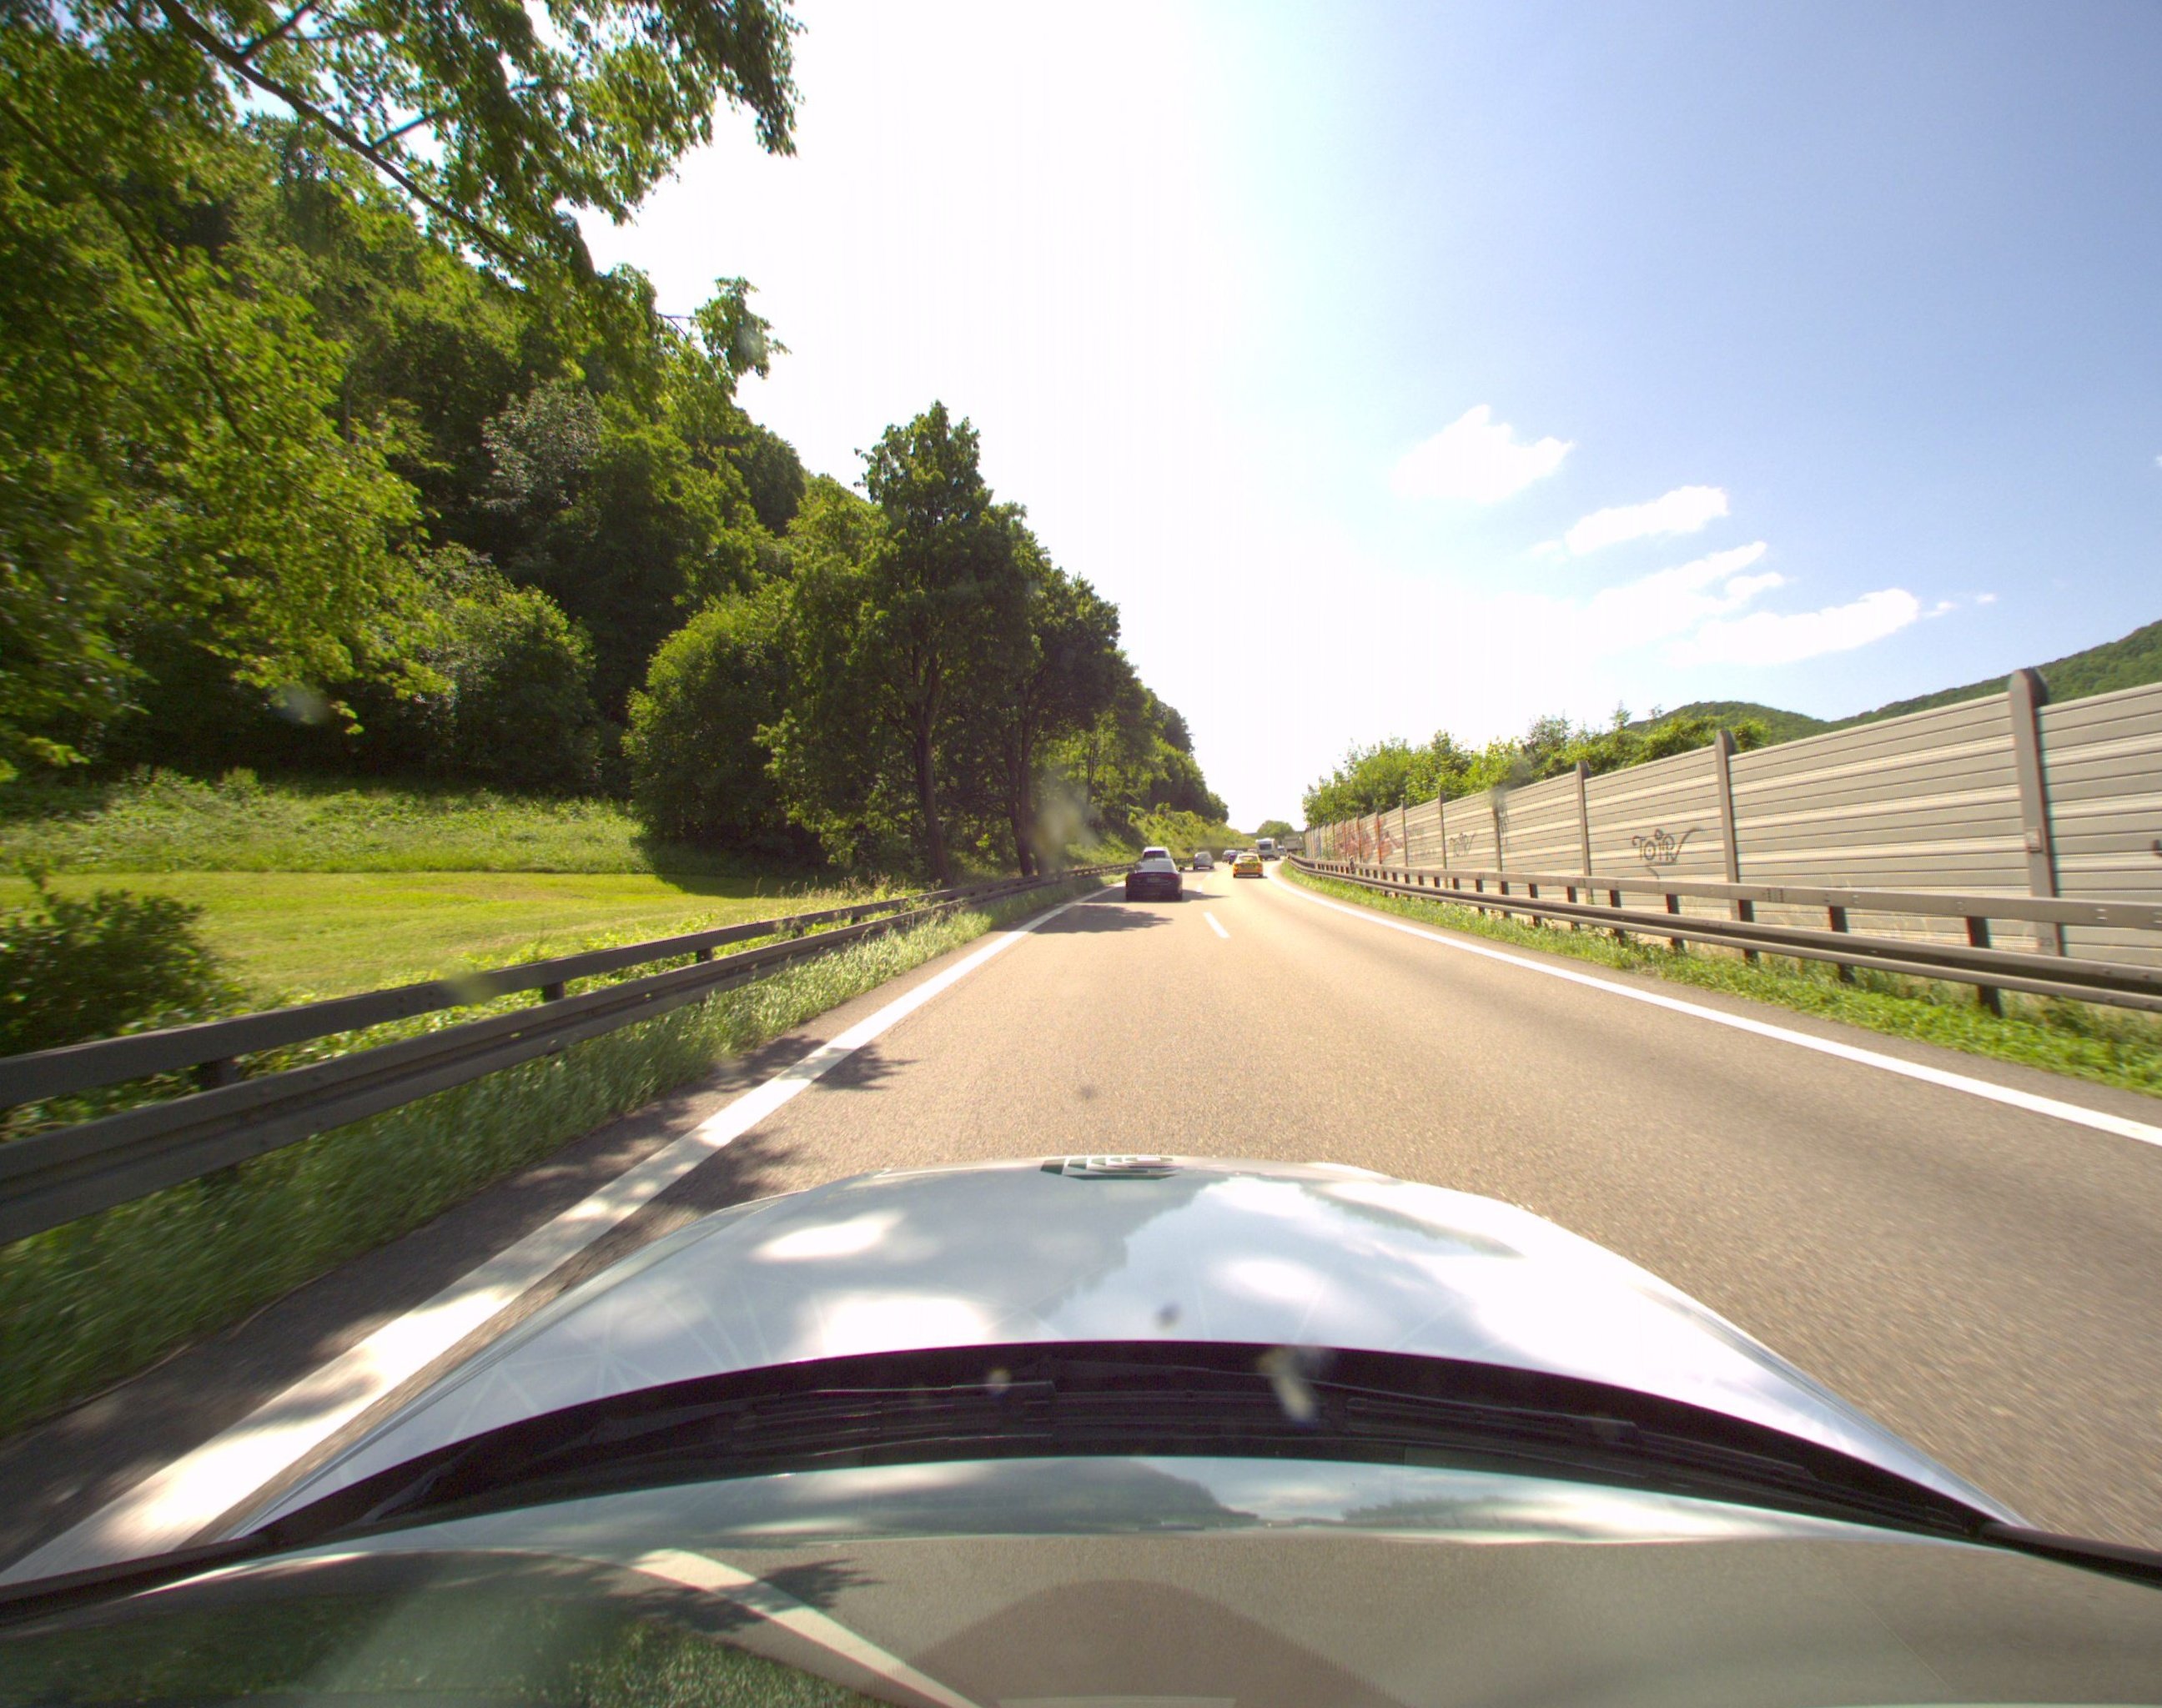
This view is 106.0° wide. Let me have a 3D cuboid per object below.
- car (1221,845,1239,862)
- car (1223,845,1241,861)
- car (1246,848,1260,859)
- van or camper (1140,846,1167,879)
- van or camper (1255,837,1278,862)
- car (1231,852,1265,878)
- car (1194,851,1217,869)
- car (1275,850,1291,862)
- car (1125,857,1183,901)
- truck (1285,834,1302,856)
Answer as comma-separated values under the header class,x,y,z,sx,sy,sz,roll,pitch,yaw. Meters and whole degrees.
class,x,y,z,sx,sy,sz,roll,pitch,yaw
car,18.422,-0.052,100.735,1.980,2.013,4.014,-2,0,13
car,16.259,-0.127,87.782,1.763,1.637,4.010,-1,-1,9
car,27.685,-0.113,131.307,1.827,1.717,4.018,-2,0,17
van or camper,4.192,0.484,46.702,1.384,1.816,4.006,-1,-1,6
van or camper,23.050,-0.476,101.133,2.437,2.918,6.151,-1,-1,15
car,10.251,0.651,50.145,1.851,1.488,4.010,-1,-1,9
car,10.832,0.531,70.651,1.736,1.431,4.012,-1,-1,11
car,31.961,0.299,128.953,1.976,1.717,4.021,-2,0,21
car,2.542,0.824,28.023,1.828,1.349,4.006,-1,-1,6
truck,40.609,-1.715,155.617,2.711,4.096,7.513,-2,0,17
